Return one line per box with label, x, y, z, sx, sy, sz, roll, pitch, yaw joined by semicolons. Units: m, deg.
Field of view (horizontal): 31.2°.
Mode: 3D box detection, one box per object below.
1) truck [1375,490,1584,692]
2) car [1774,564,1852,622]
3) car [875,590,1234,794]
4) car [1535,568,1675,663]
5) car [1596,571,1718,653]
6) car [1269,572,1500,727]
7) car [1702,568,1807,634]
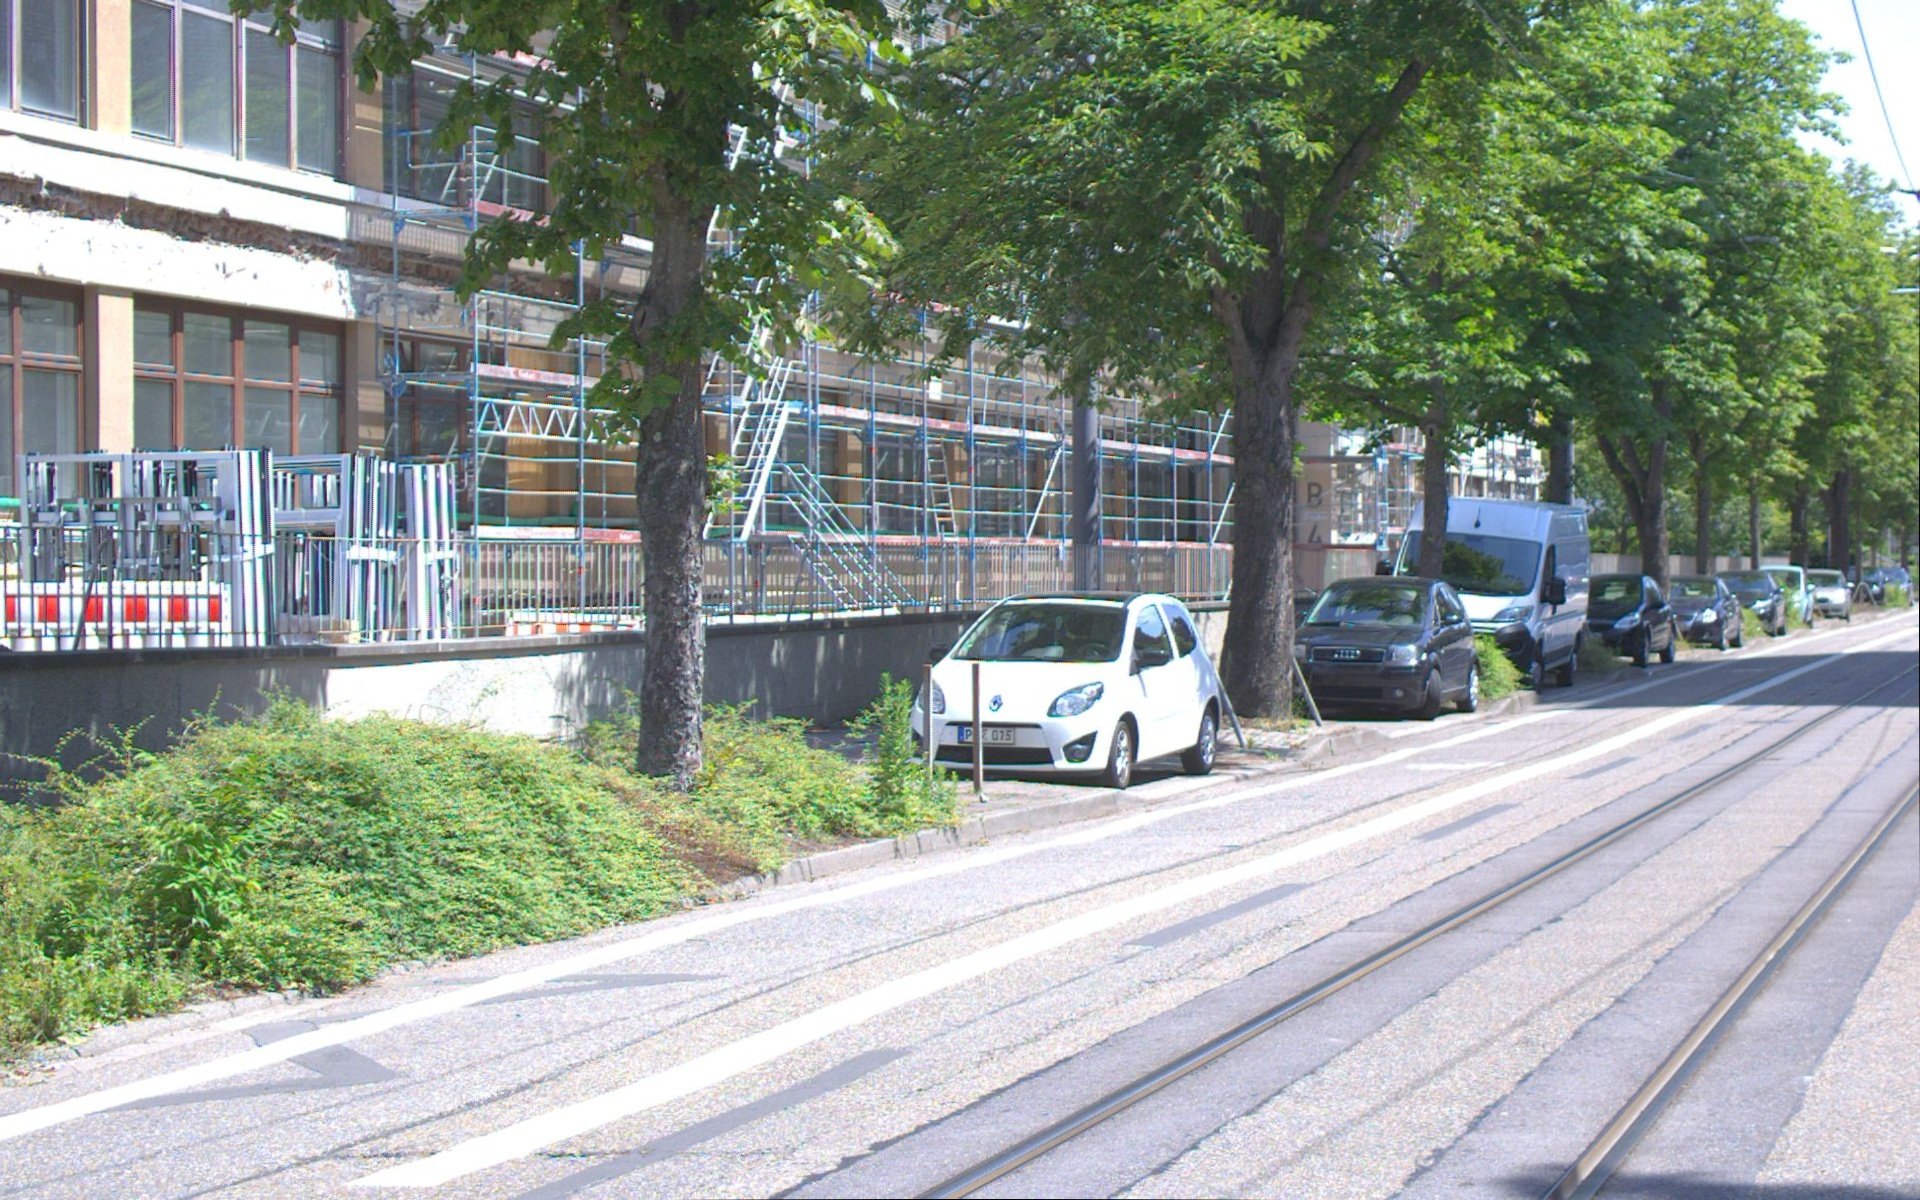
truck;6.904;-0.157;45.167;2.021;2.477;5.868;0;1;15
car;23.768;-0.206;95.692;1.823;1.568;3.996;0;1;18
car;0.804;0.657;26.696;1.619;1.435;3.579;0;1;22
car;10.305;0.217;54.709;1.995;1.451;3.998;0;1;14
car;13.123;0.200;64.578;1.995;1.481;3.997;0;1;15
car;4.784;0.501;38.297;1.995;1.601;3.997;1;1;15
car;18.474;0.005;79.808;1.995;1.481;4.334;0;1;18
